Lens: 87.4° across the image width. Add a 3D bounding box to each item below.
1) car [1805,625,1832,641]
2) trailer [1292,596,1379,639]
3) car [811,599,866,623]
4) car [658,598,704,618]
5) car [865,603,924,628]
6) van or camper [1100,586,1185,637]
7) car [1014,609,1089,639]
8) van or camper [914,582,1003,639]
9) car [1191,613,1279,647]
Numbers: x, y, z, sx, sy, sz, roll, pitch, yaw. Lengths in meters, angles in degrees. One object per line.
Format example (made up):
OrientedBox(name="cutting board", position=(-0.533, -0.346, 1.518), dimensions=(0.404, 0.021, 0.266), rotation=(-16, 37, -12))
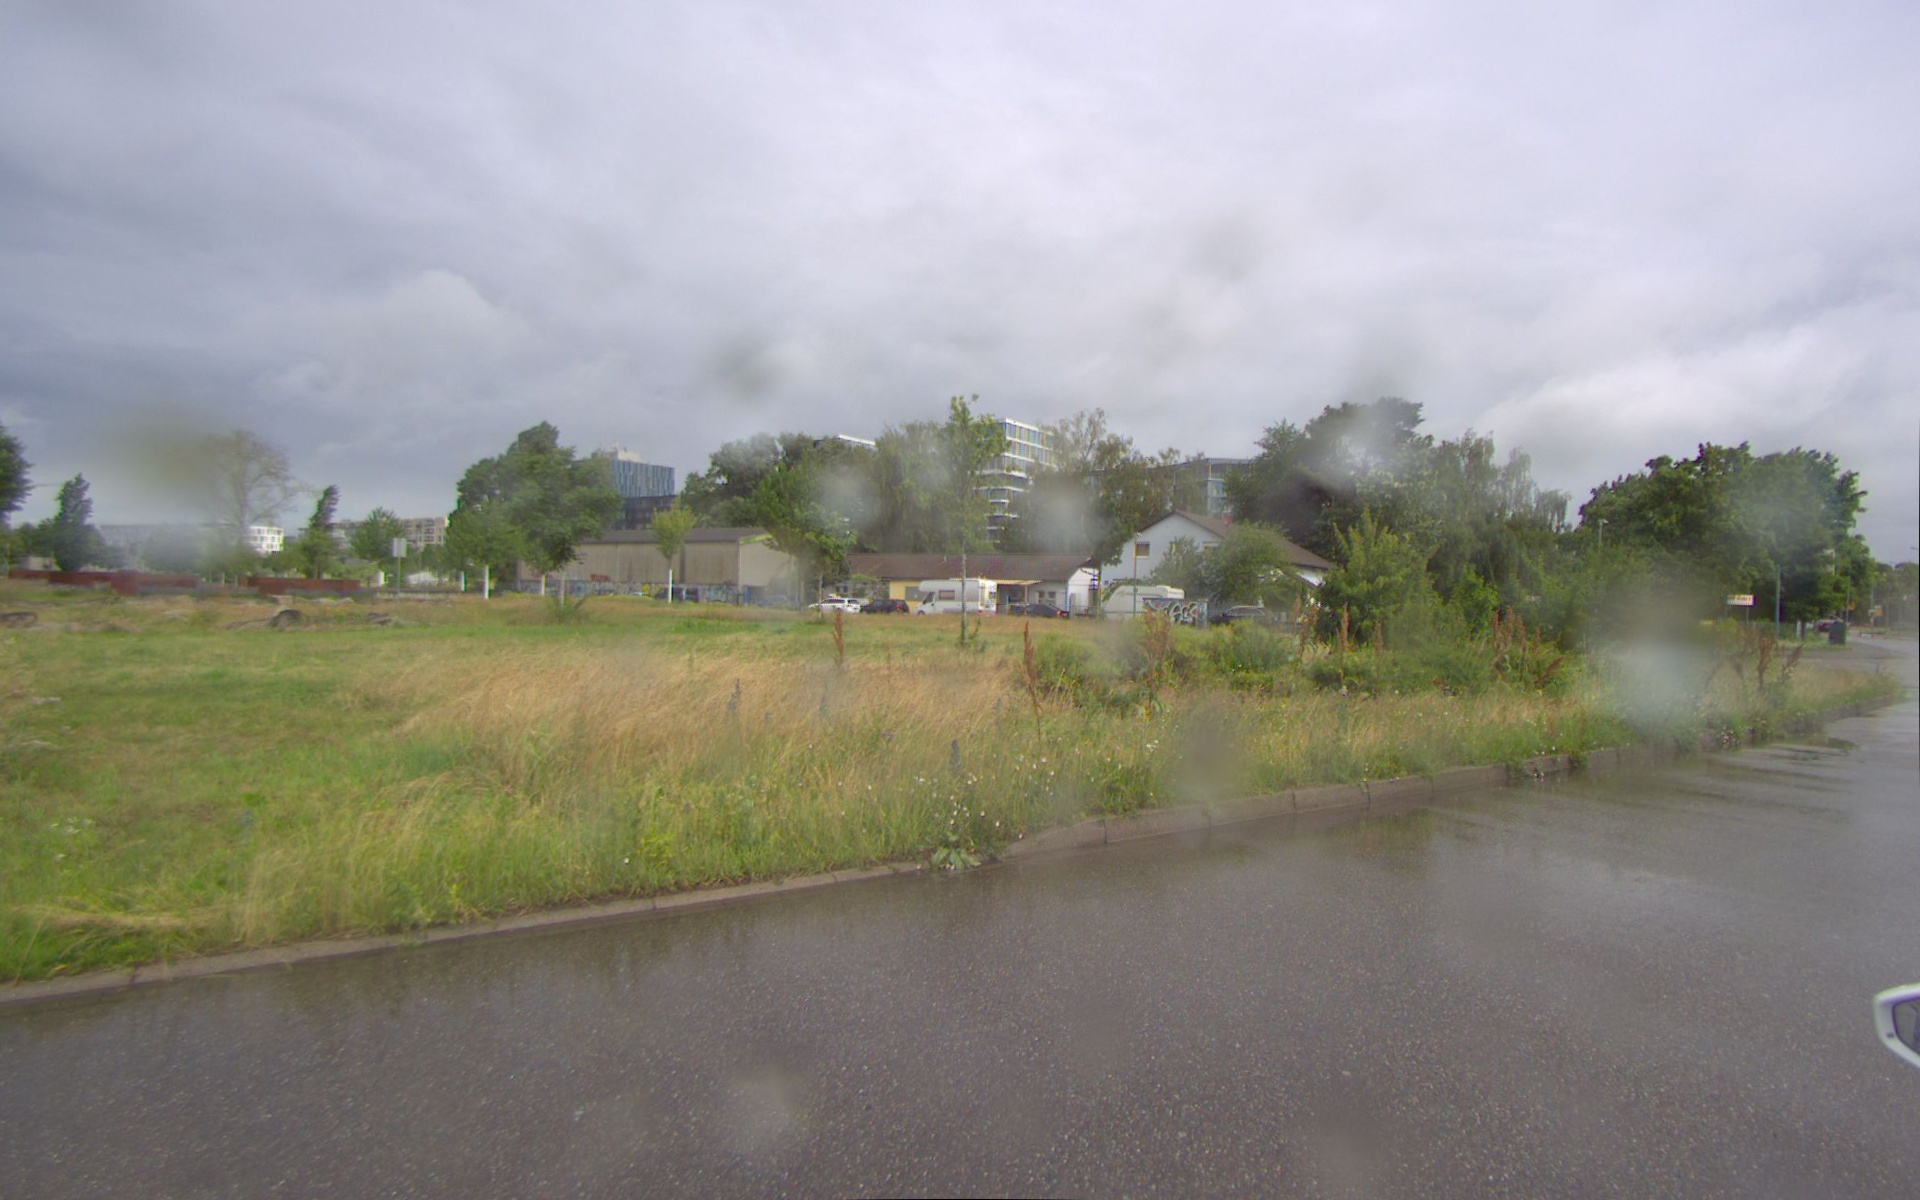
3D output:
OrientedBox(name="car", position=(96.997, 3.686, 113.459), dimensions=(1.816, 1.663, 4.004), rotation=(2, 0, 34))
OrientedBox(name="trailer", position=(20.587, 0.927, 55.165), dimensions=(4.046, 2.117, 1.838), rotation=(3, 1, 36))
OrientedBox(name="car", position=(-9.250, 0.843, 76.430), dimensions=(3.937, 1.726, 1.874), rotation=(2, 0, 38))
OrientedBox(name="car", position=(-24.319, 0.682, 87.563), dimensions=(3.932, 1.662, 1.645), rotation=(2, 0, 34))
OrientedBox(name="car", position=(-4.766, 1.106, 72.921), dimensions=(3.935, 1.706, 1.993), rotation=(2, 0, 36))
OrientedBox(name="van or camper", position=(11.147, 0.665, 61.564), dimensions=(4.445, 2.985, 2.474), rotation=(2, 0, 38))
OrientedBox(name="car", position=(5.901, 1.517, 64.832), dimensions=(4.448, 1.799, 1.992), rotation=(2, 0, 38))
OrientedBox(name="van or camper", position=(-0.113, 0.685, 70.164), dimensions=(5.759, 3.794, 2.643), rotation=(2, 0, 38))
OrientedBox(name="car", position=(15.834, 1.701, 57.888), dimensions=(4.448, 1.799, 1.992), rotation=(2, 0, 38))
